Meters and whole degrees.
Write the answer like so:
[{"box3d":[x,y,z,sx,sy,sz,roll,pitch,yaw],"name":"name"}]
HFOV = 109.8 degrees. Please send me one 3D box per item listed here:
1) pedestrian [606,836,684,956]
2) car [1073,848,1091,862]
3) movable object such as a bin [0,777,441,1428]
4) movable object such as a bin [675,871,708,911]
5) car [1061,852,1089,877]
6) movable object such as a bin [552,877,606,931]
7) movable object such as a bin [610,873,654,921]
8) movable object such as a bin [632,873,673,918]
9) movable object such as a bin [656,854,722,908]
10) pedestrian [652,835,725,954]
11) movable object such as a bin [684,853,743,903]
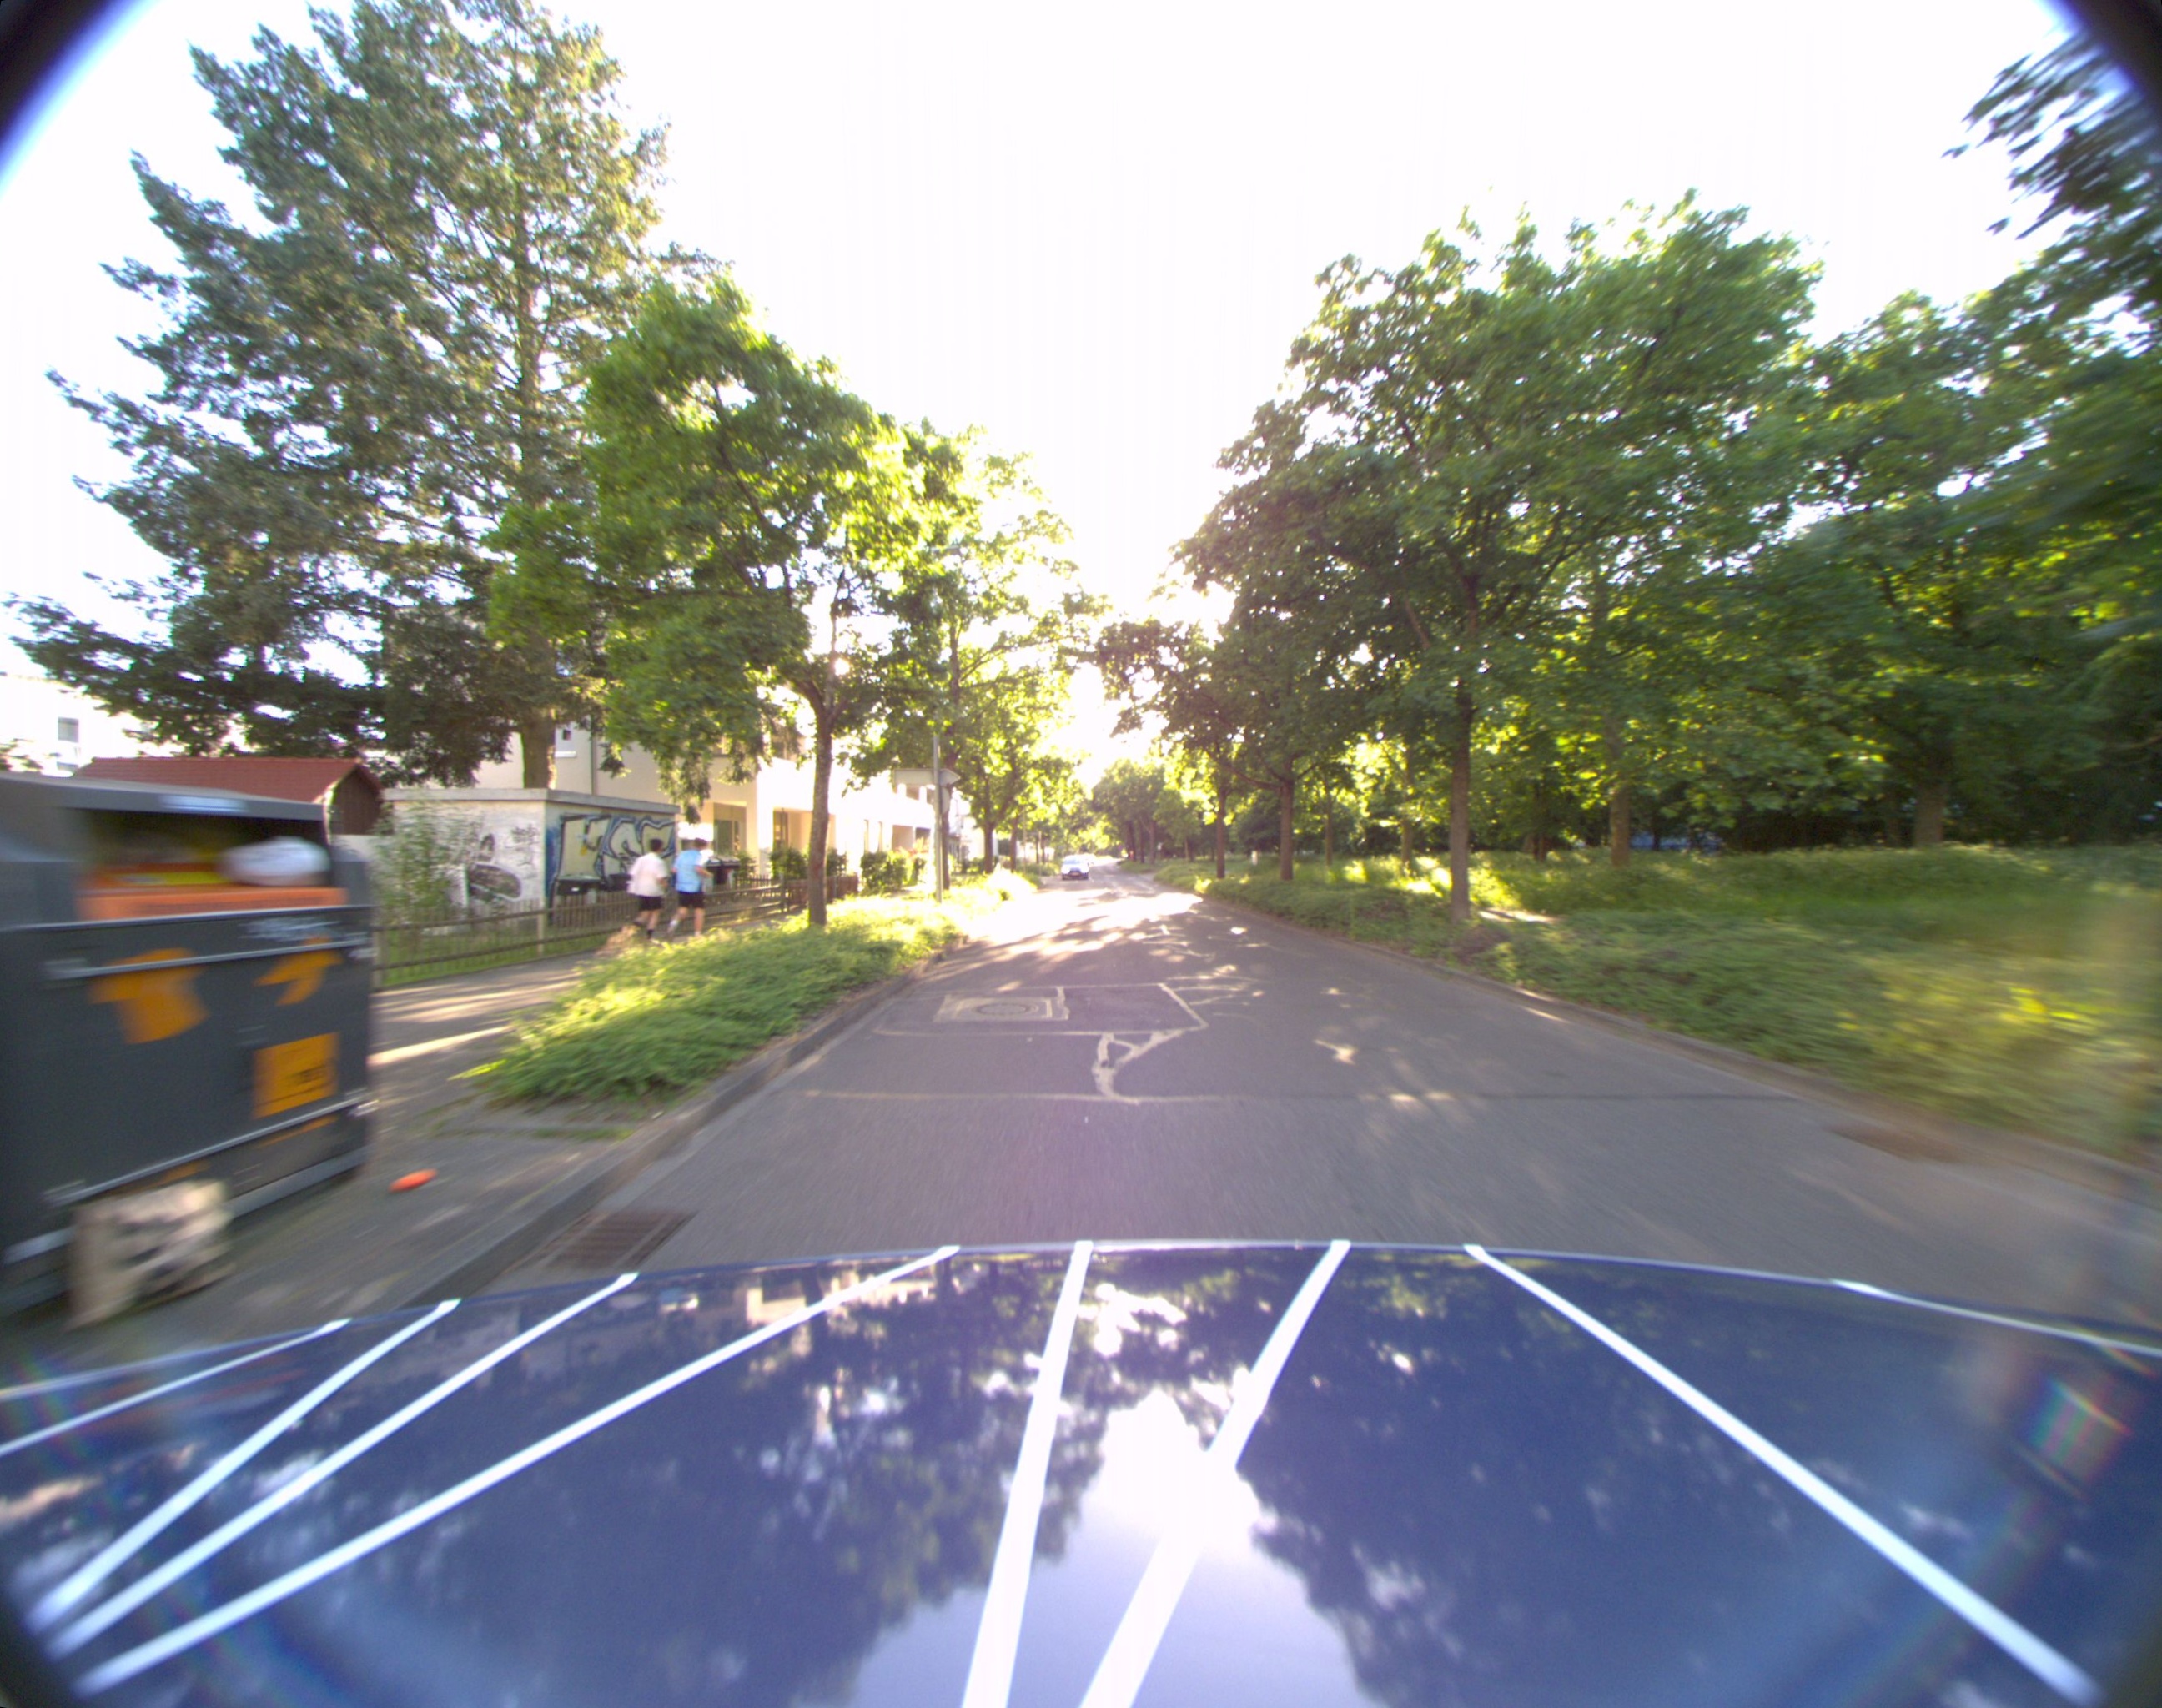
[{"box3d":[-7.143,0.652,12.496,0.644,1.883,1.018,-1,1,0],"name":"pedestrian"},{"box3d":[0.146,0.079,87.260,1.998,1.531,4.000,-1,1,2],"name":"car"},{"box3d":[-3.970,0.719,2.827,1.925,1.843,1.393,-1,1,0],"name":"movable object such as a bin"},{"box3d":[-10.262,0.971,20.037,0.539,1.024,0.615,1,1,-1],"name":"movable object such as a bin"},{"box3d":[-0.463,0.700,53.220,1.890,1.612,4.617,-1,1,-1],"name":"car"},{"box3d":[-10.061,0.991,15.245,0.645,1.024,0.645,1,1,-1],"name":"movable object such as a bin"},{"box3d":[-10.057,0.954,17.037,0.616,1.024,0.594,1,1,-1],"name":"movable object such as a bin"},{"box3d":[-10.064,0.968,17.860,0.607,1.024,0.641,1,1,-1],"name":"movable object such as a bin"},{"box3d":[-10.836,0.727,21.056,1.081,1.422,1.387,1,1,-1],"name":"movable object such as a bin"},{"box3d":[-6.433,0.639,12.485,0.674,1.883,0.895,-1,1,0],"name":"pedestrian"},{"box3d":[-10.855,0.687,22.520,1.081,1.419,1.366,1,1,-1],"name":"movable object such as a bin"}]
